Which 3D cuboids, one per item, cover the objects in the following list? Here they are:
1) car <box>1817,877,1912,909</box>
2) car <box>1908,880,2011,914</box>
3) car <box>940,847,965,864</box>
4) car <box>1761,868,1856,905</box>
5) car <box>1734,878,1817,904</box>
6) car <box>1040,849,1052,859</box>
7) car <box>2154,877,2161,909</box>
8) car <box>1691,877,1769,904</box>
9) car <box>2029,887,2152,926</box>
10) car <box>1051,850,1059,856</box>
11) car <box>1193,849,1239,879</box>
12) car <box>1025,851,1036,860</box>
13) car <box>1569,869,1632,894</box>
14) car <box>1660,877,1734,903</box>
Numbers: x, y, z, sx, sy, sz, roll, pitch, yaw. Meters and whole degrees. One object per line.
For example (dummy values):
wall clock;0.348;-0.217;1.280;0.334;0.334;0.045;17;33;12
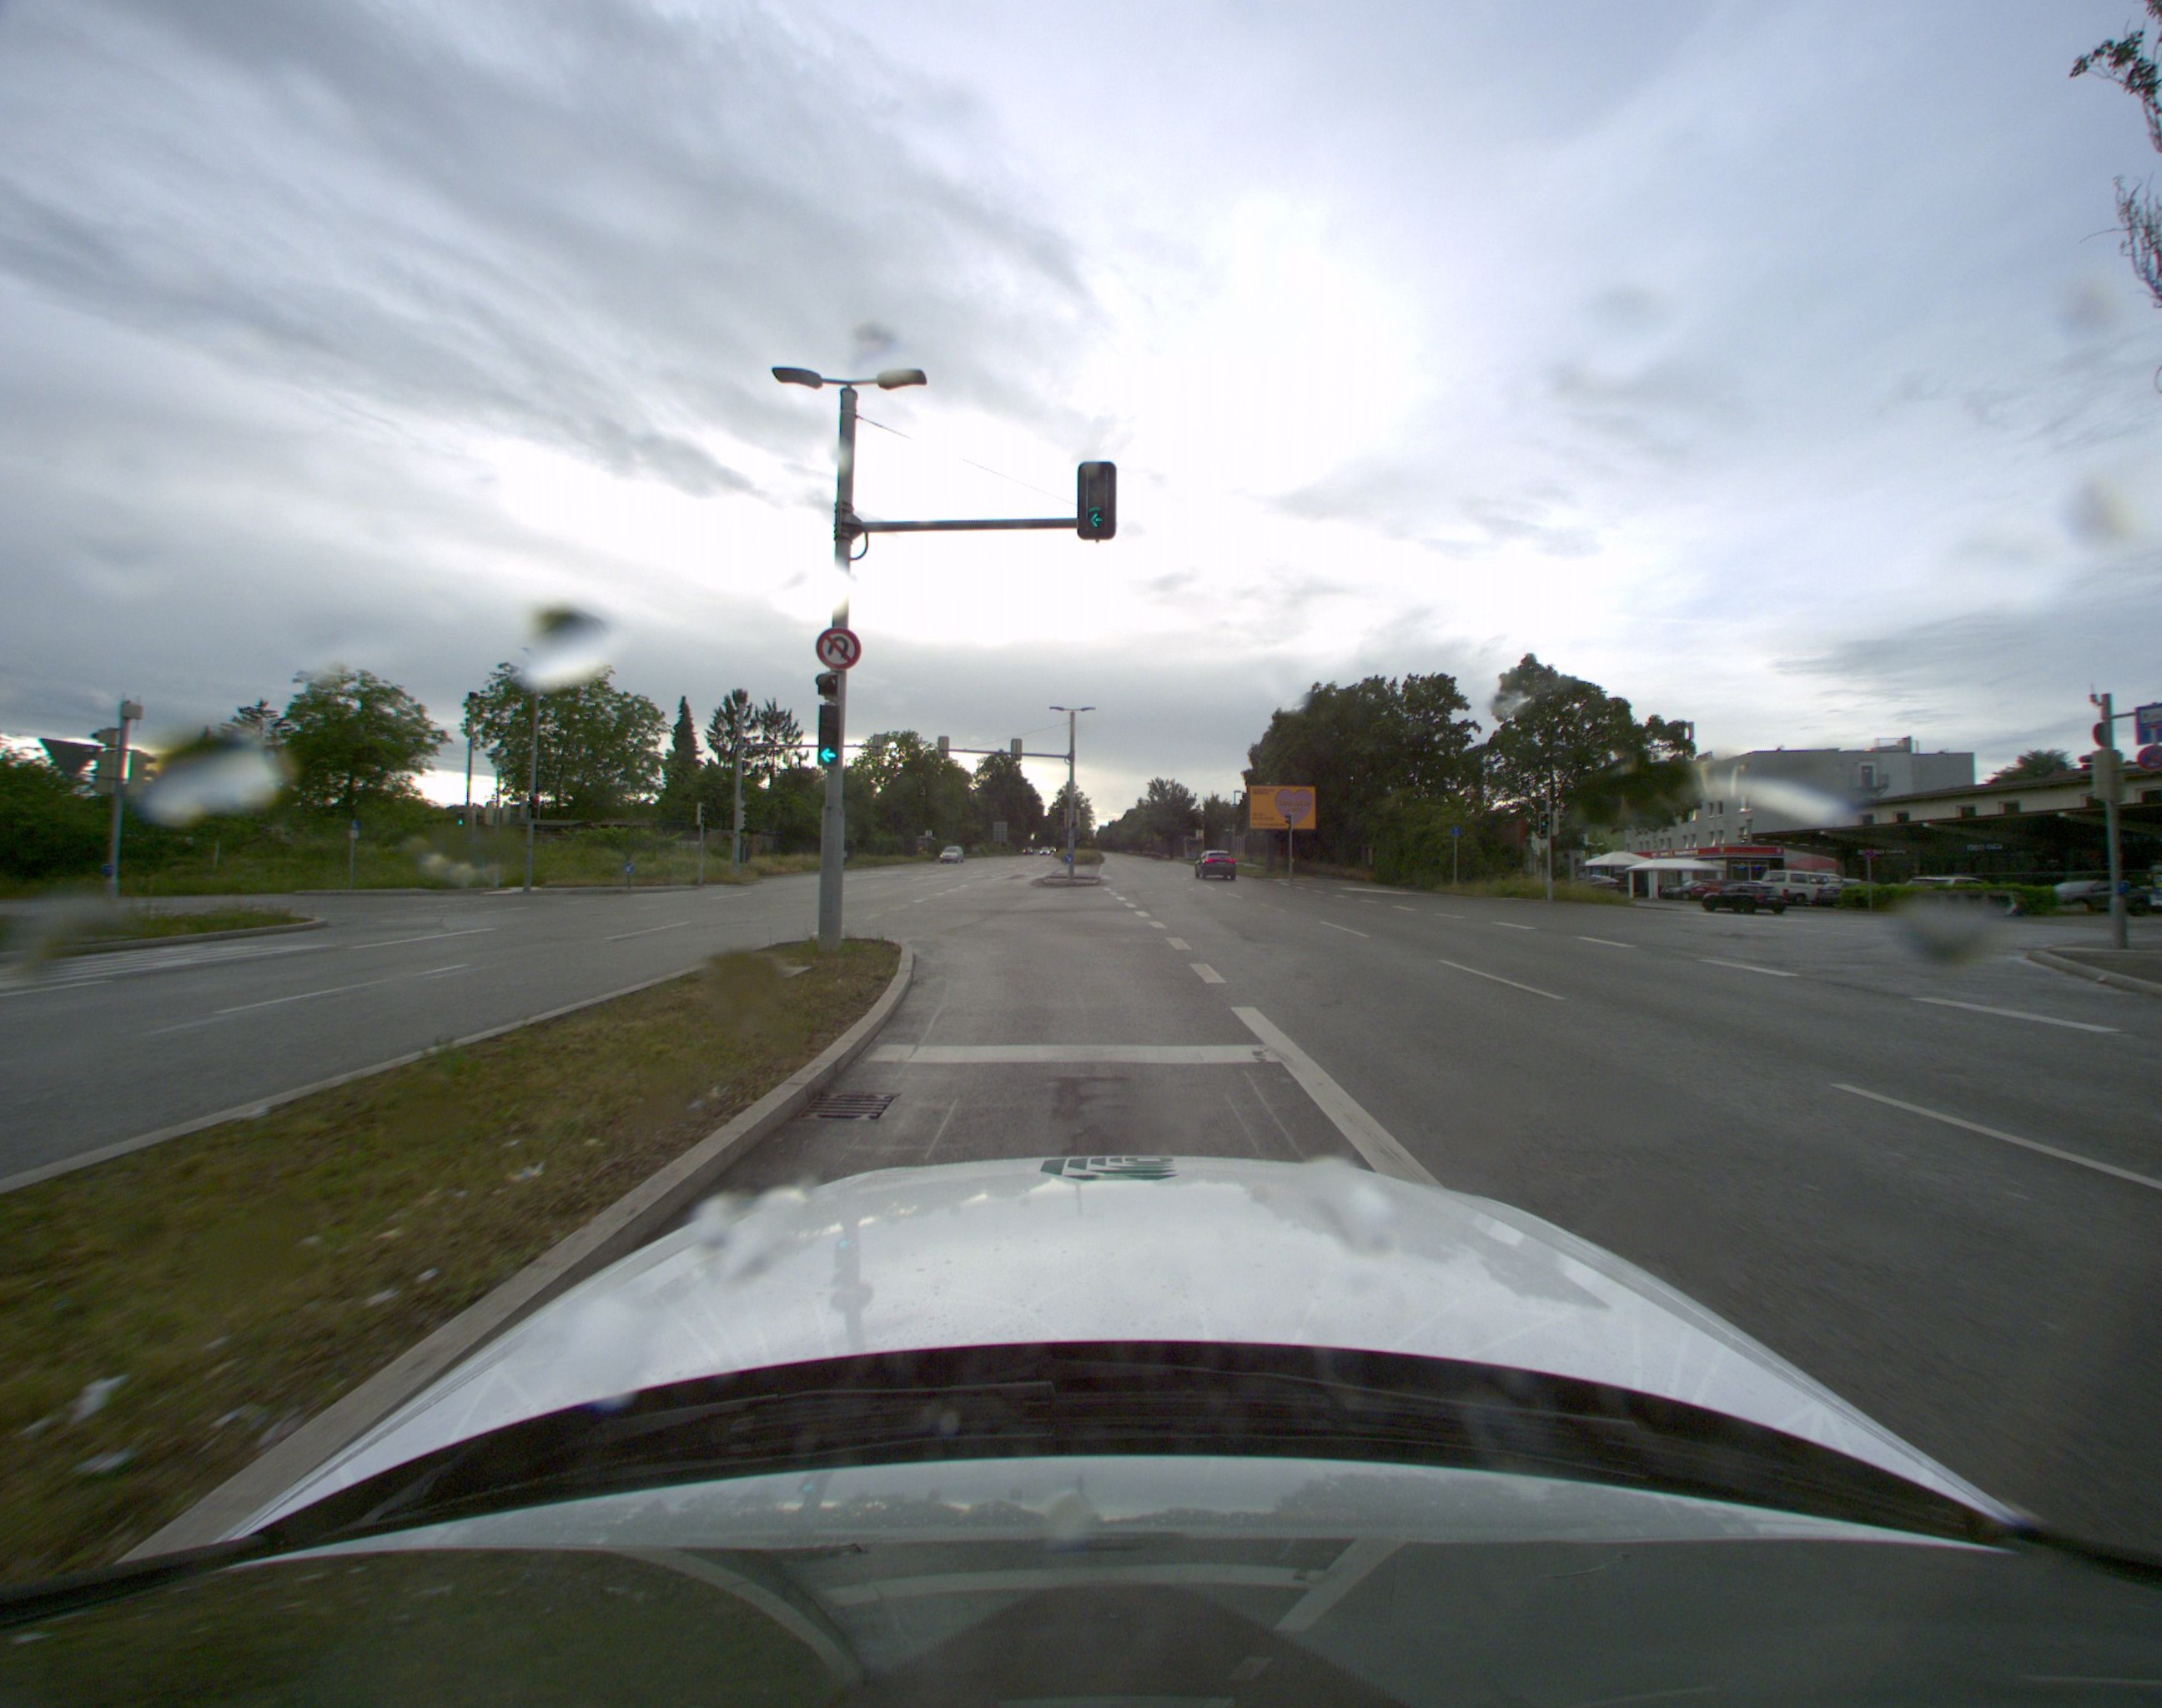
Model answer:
car;41.488;2.036;43.165;3.862;1.564;1.514;1;0;-6
car;43.995;2.153;40.824;3.862;1.564;1.514;1;0;-6
car;-12.822;0.111;81.443;1.763;1.596;4.489;1;0;0
car;40.497;1.781;45.360;3.862;1.946;1.853;1;0;-6
car;40.707;2.150;47.770;3.862;1.398;1.514;1;0;-6
car;-6.117;0.002;142.874;1.887;1.534;4.489;1;0;0
car;55.423;1.958;39.855;3.864;1.564;1.911;1;0;-8
car;40.155;2.252;50.431;3.862;1.564;1.514;1;0;-6
car;43.830;2.265;35.392;3.862;1.564;1.514;1;0;-6
car;-6.882;-0.180;217.930;1.887;1.596;4.489;1;0;0
car;7.062;0.518;42.955;1.739;1.470;4.166;1;0;1
car;-9.857;0.265;158.532;1.887;1.596;4.489;1;0;0
car;35.708;1.873;56.121;1.771;1.586;4.142;2;-2;1
car;39.958;2.322;52.866;3.862;1.564;1.514;1;0;-6
